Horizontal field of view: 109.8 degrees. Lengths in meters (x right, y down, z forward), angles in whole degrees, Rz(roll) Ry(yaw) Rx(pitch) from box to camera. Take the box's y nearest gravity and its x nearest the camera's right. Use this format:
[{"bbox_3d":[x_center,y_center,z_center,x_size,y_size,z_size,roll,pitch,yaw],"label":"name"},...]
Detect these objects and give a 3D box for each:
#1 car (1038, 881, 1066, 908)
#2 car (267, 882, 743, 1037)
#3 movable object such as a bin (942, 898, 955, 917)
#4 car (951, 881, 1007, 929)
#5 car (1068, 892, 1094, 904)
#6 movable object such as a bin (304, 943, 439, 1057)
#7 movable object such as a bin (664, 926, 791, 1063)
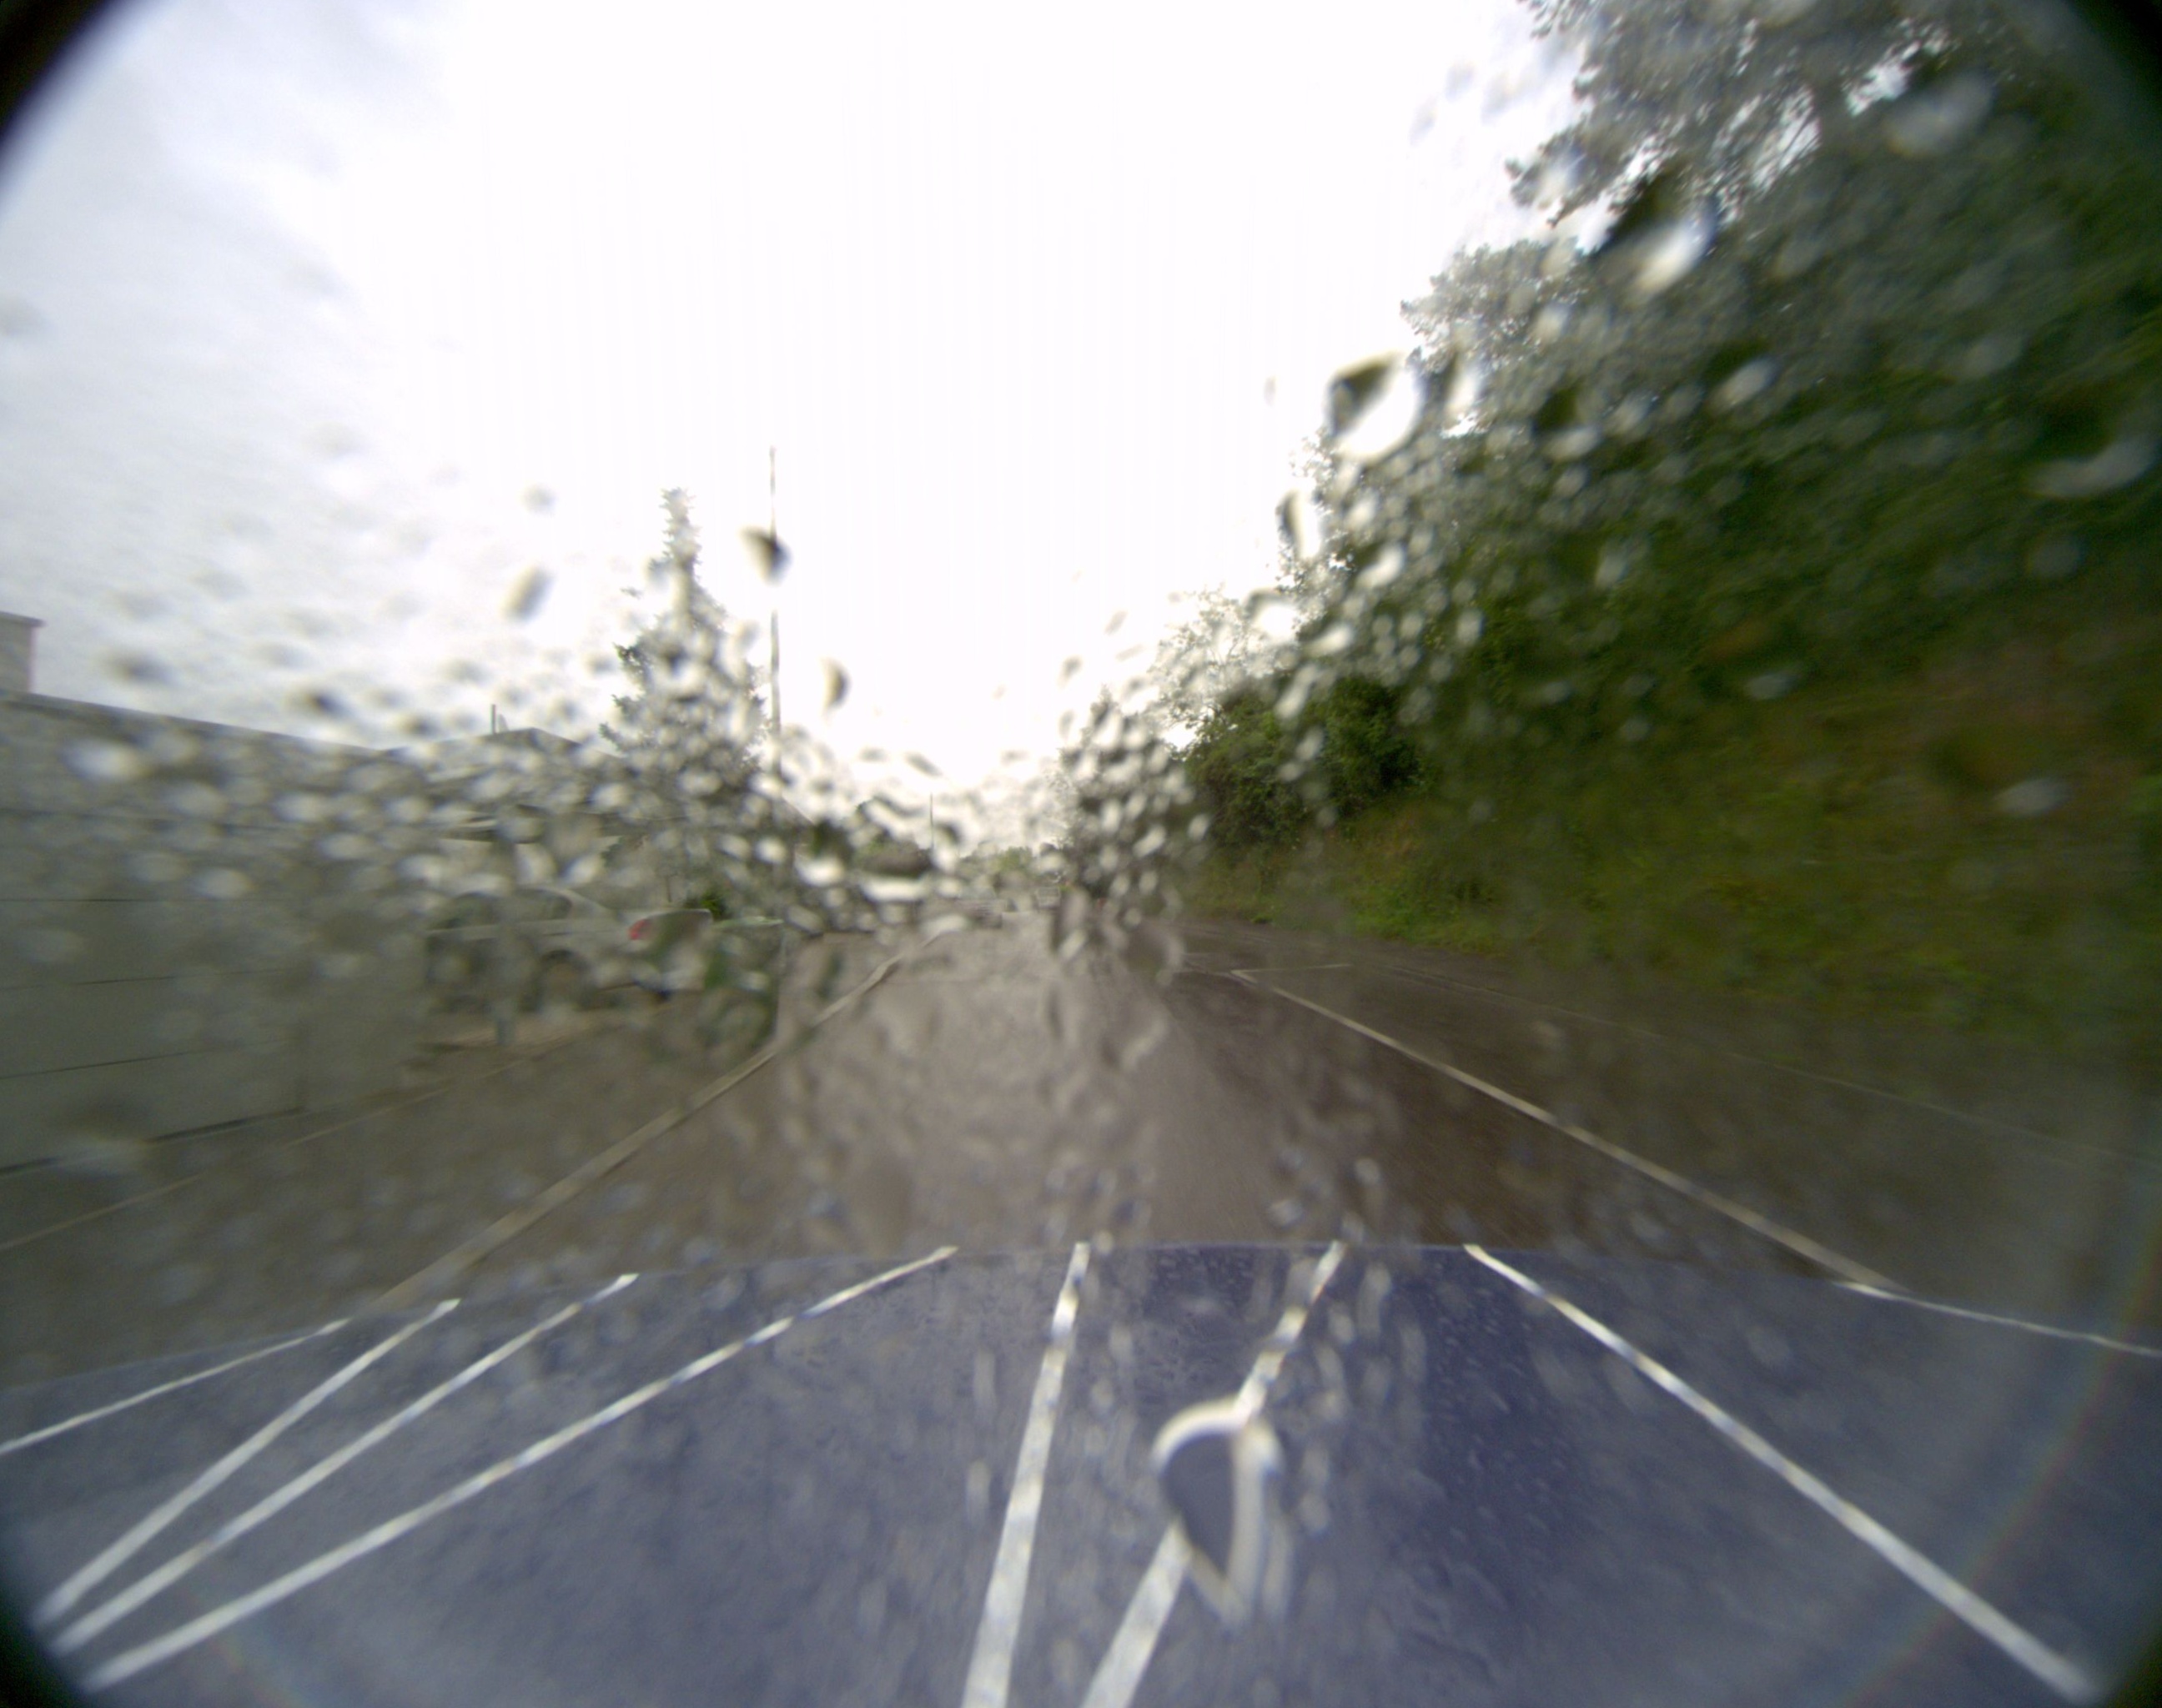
[{"bbox_3d":[-2.364,3.287,61.226,2.117,1.962,5.174,-1,-3,-4],"label":"car"},{"bbox_3d":[-6.545,1.167,8.943,4.225,1.406,1.942,-3,-1,6],"label":"car"},{"bbox_3d":[-7.966,3.213,45.683,0.741,1.081,0.600,0,-3,-4],"label":"movable object such as a bin"},{"bbox_3d":[-3.829,1.913,28.619,1.881,1.581,4.479,-2,-3,-7],"label":"car"},{"bbox_3d":[0.054,5.901,102.624,1.797,1.459,4.225,-4,-4,25],"label":"car"},{"bbox_3d":[-6.621,1.338,7.102,0.949,0.948,0.504,-1,-1,16],"label":"movable object such as a bin"},{"bbox_3d":[-3.097,1.214,6.729,0.792,1.089,0.675,2,-1,-4],"label":"movable object such as a bin"}]
